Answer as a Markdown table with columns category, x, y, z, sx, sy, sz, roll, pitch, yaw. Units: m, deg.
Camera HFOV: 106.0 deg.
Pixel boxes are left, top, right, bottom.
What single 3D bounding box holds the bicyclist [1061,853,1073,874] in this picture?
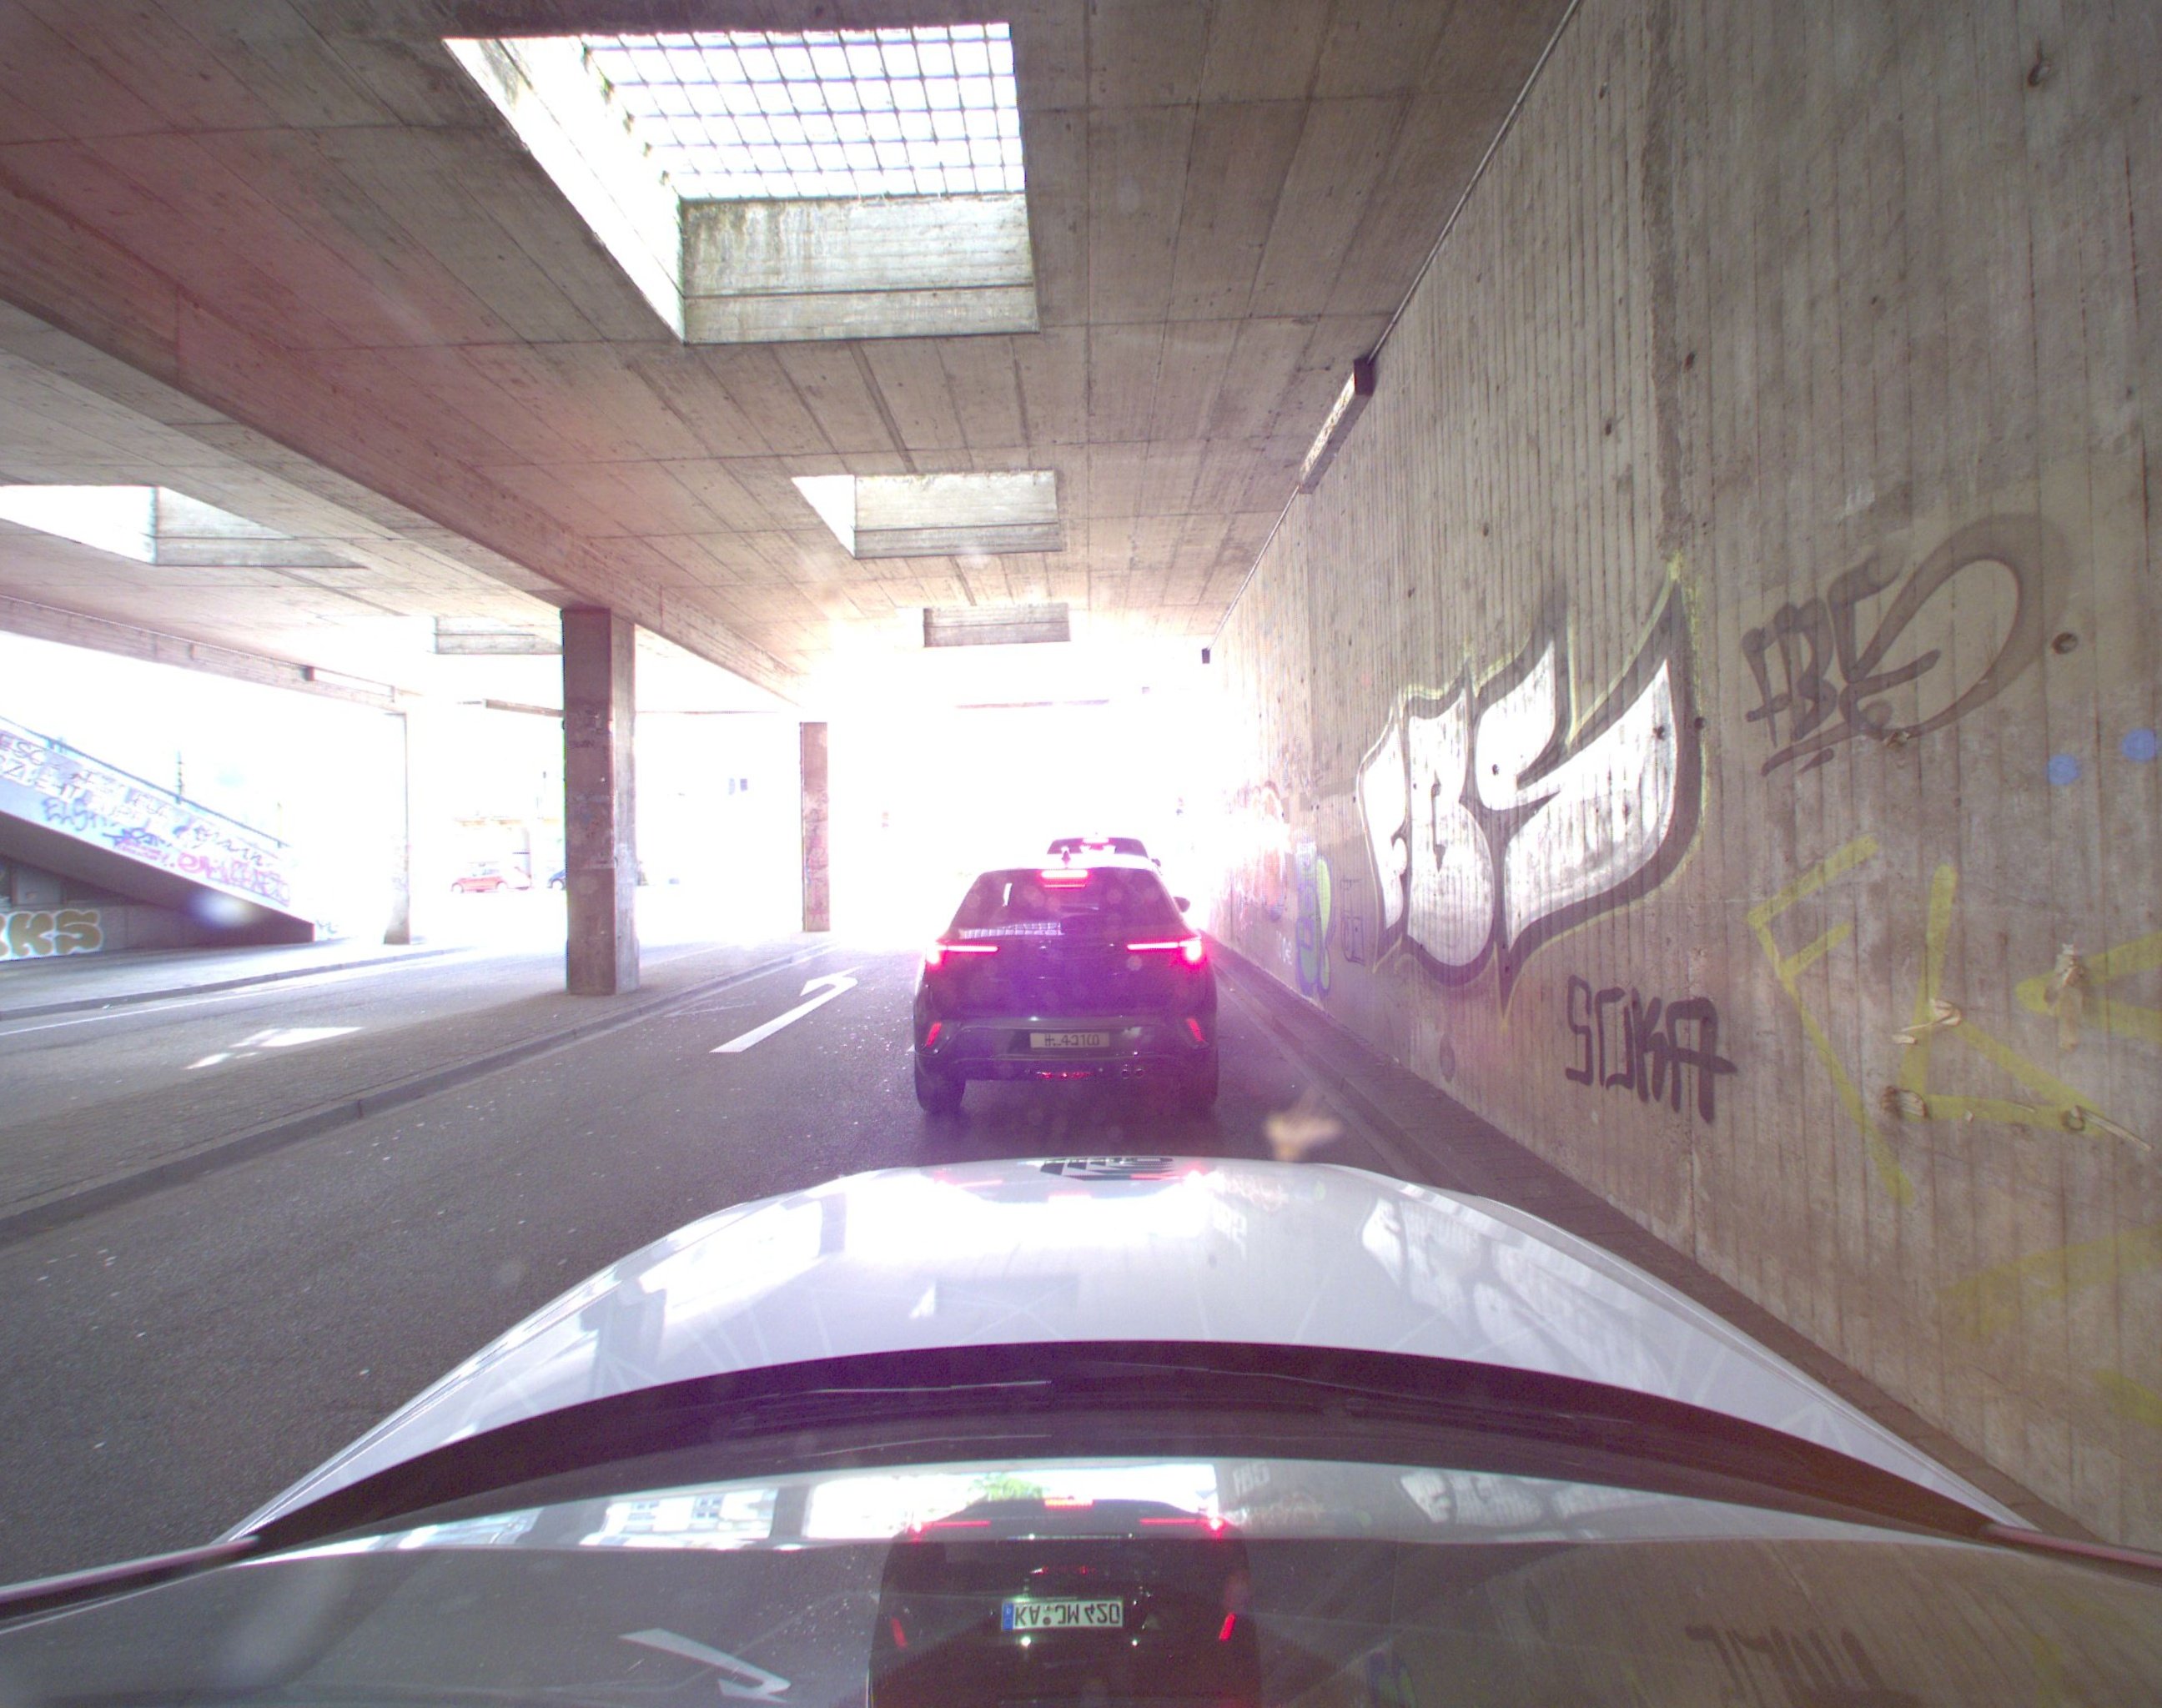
| category | x | y | z | sx | sy | sz | roll | pitch | yaw |
| --- | --- | --- | --- | --- | --- | --- | --- | --- | --- |
| bicyclist | -1.051 | 0.709 | 61.775 | 0.724 | 1.581 | 0.817 | -1 | -1 | 11 |

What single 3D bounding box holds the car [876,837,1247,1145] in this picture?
| category | x | y | z | sx | sy | sz | roll | pitch | yaw |
| --- | --- | --- | --- | --- | --- | --- | --- | --- | --- |
| car | -0.041 | 0.707 | 6.194 | 1.875 | 1.538 | 3.966 | -2 | 0 | 2 |

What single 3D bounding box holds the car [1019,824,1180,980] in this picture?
| category | x | y | z | sx | sy | sz | roll | pitch | yaw |
| --- | --- | --- | --- | --- | --- | --- | --- | --- | --- |
| car | 0.291 | 0.590 | 12.014 | 1.938 | 1.860 | 3.966 | -2 | 0 | 2 |

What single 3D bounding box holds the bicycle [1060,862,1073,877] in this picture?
| category | x | y | z | sx | sy | sz | roll | pitch | yaw |
| --- | --- | --- | --- | --- | --- | --- | --- | --- | --- |
| bicycle | -1.062 | 1.166 | 61.716 | 0.621 | 1.067 | 1.694 | -1 | -1 | 11 |

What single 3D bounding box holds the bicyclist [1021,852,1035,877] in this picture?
| category | x | y | z | sx | sy | sz | roll | pitch | yaw |
| --- | --- | --- | --- | --- | --- | --- | --- | --- | --- |
| bicyclist | -3.374 | 0.646 | 51.784 | 0.724 | 1.581 | 0.817 | -1 | -1 | 11 |

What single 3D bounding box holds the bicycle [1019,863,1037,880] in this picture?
| category | x | y | z | sx | sy | sz | roll | pitch | yaw |
| --- | --- | --- | --- | --- | --- | --- | --- | --- | --- |
| bicycle | -3.383 | 1.103 | 51.749 | 0.727 | 1.067 | 1.694 | -1 | -1 | 11 |

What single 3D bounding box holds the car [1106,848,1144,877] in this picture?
| category | x | y | z | sx | sy | sz | roll | pitch | yaw |
| --- | --- | --- | --- | --- | --- | --- | --- | --- | --- |
| car | 2.413 | 0.498 | 44.272 | 1.959 | 1.497 | 3.900 | -2 | -2 | 4 |

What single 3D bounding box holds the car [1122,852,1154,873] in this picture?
| category | x | y | z | sx | sy | sz | roll | pitch | yaw |
| --- | --- | --- | --- | --- | --- | --- | --- | --- | --- |
| car | 4.410 | 0.639 | 62.257 | 1.955 | 1.497 | 3.908 | -2 | -2 | 11 |

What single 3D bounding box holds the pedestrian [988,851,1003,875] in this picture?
| category | x | y | z | sx | sy | sz | roll | pitch | yaw |
| --- | --- | --- | --- | --- | --- | --- | --- | --- | --- |
| pedestrian | -7.493 | 0.784 | 71.612 | 0.986 | 2.013 | 1.091 | -2 | 0 | 10 |

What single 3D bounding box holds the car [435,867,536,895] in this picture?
| category | x | y | z | sx | sy | sz | roll | pitch | yaw |
| --- | --- | --- | --- | --- | --- | --- | --- | --- | --- |
| car | -33.007 | 1.479 | 45.243 | 3.970 | 1.374 | 2.192 | -2 | 0 | 3 |

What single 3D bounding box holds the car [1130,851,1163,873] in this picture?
| category | x | y | z | sx | sy | sz | roll | pitch | yaw |
| --- | --- | --- | --- | --- | --- | --- | --- | --- | --- |
| car | 5.592 | 0.684 | 69.043 | 2.206 | 1.719 | 4.474 | -2 | -2 | 12 |

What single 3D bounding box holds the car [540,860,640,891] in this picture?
| category | x | y | z | sx | sy | sz | roll | pitch | yaw |
| --- | --- | --- | --- | --- | --- | --- | --- | --- | --- |
| car | -27.203 | 1.187 | 45.244 | 4.114 | 1.550 | 2.268 | -2 | 0 | 1 |
